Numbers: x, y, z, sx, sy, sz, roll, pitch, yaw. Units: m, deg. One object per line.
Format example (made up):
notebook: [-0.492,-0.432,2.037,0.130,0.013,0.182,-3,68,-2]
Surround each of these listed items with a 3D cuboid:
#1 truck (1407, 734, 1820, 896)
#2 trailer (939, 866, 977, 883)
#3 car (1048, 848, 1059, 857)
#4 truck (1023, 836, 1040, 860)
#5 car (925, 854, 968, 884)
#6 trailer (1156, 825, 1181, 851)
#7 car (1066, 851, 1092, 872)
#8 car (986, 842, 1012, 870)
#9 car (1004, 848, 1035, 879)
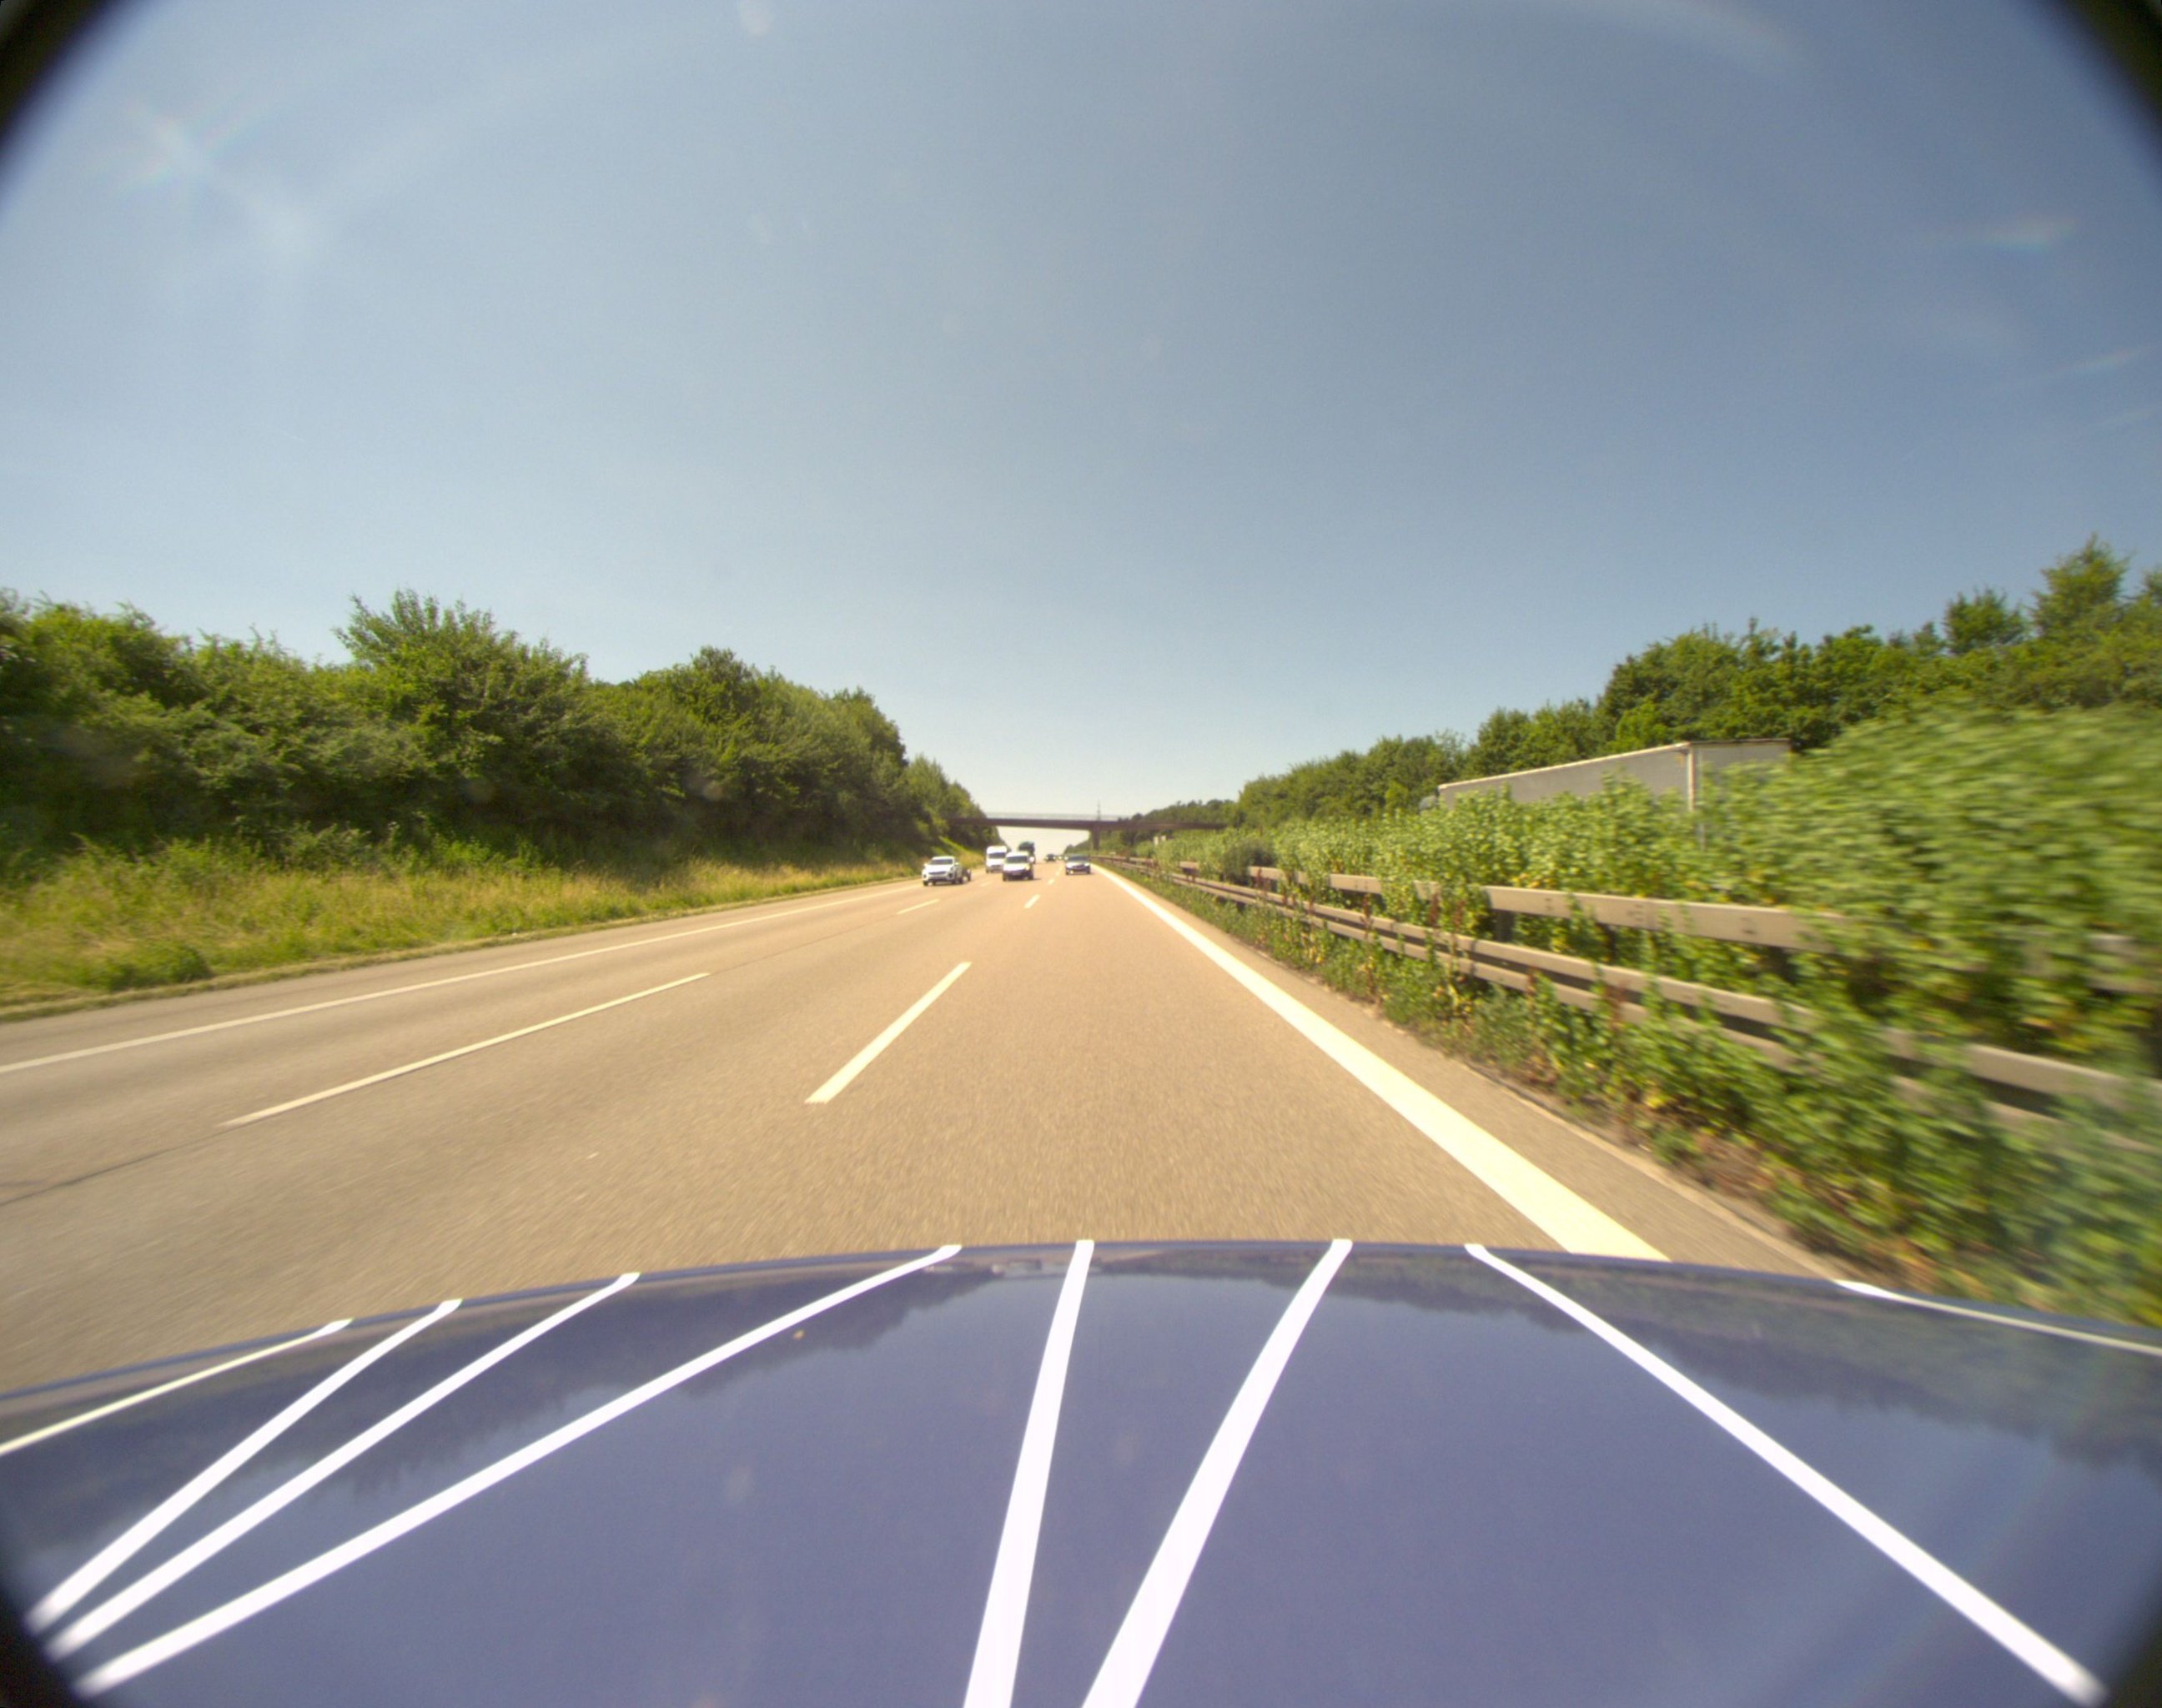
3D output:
truck: [17.082,-1.018,27.603,2.983,3.990,16.825,-2,0,0]
trailer: [-7.958,1.297,49.537,1.759,0.903,4.319,-2,0,-1]
car: [-5.400,-0.283,148.799,1.788,1.550,3.942,-2,-1,-6]
truck: [-8.356,-1.011,128.301,2.517,3.819,4.890,-2,-1,-5]
car: [-7.936,0.888,45.153,1.786,1.641,4.403,-2,-1,-1]
trailer: [15.793,-2.769,138.080,2.641,4.228,14.676,-2,-1,-1]
car: [-0.155,0.554,56.249,1.768,1.400,3.999,-2,-1,-1]
car: [-7.884,0.219,73.910,2.095,2.560,6.620,-2,-1,-3]
car: [-3.883,0.584,48.729,1.750,1.819,4.799,-2,0,-2]
